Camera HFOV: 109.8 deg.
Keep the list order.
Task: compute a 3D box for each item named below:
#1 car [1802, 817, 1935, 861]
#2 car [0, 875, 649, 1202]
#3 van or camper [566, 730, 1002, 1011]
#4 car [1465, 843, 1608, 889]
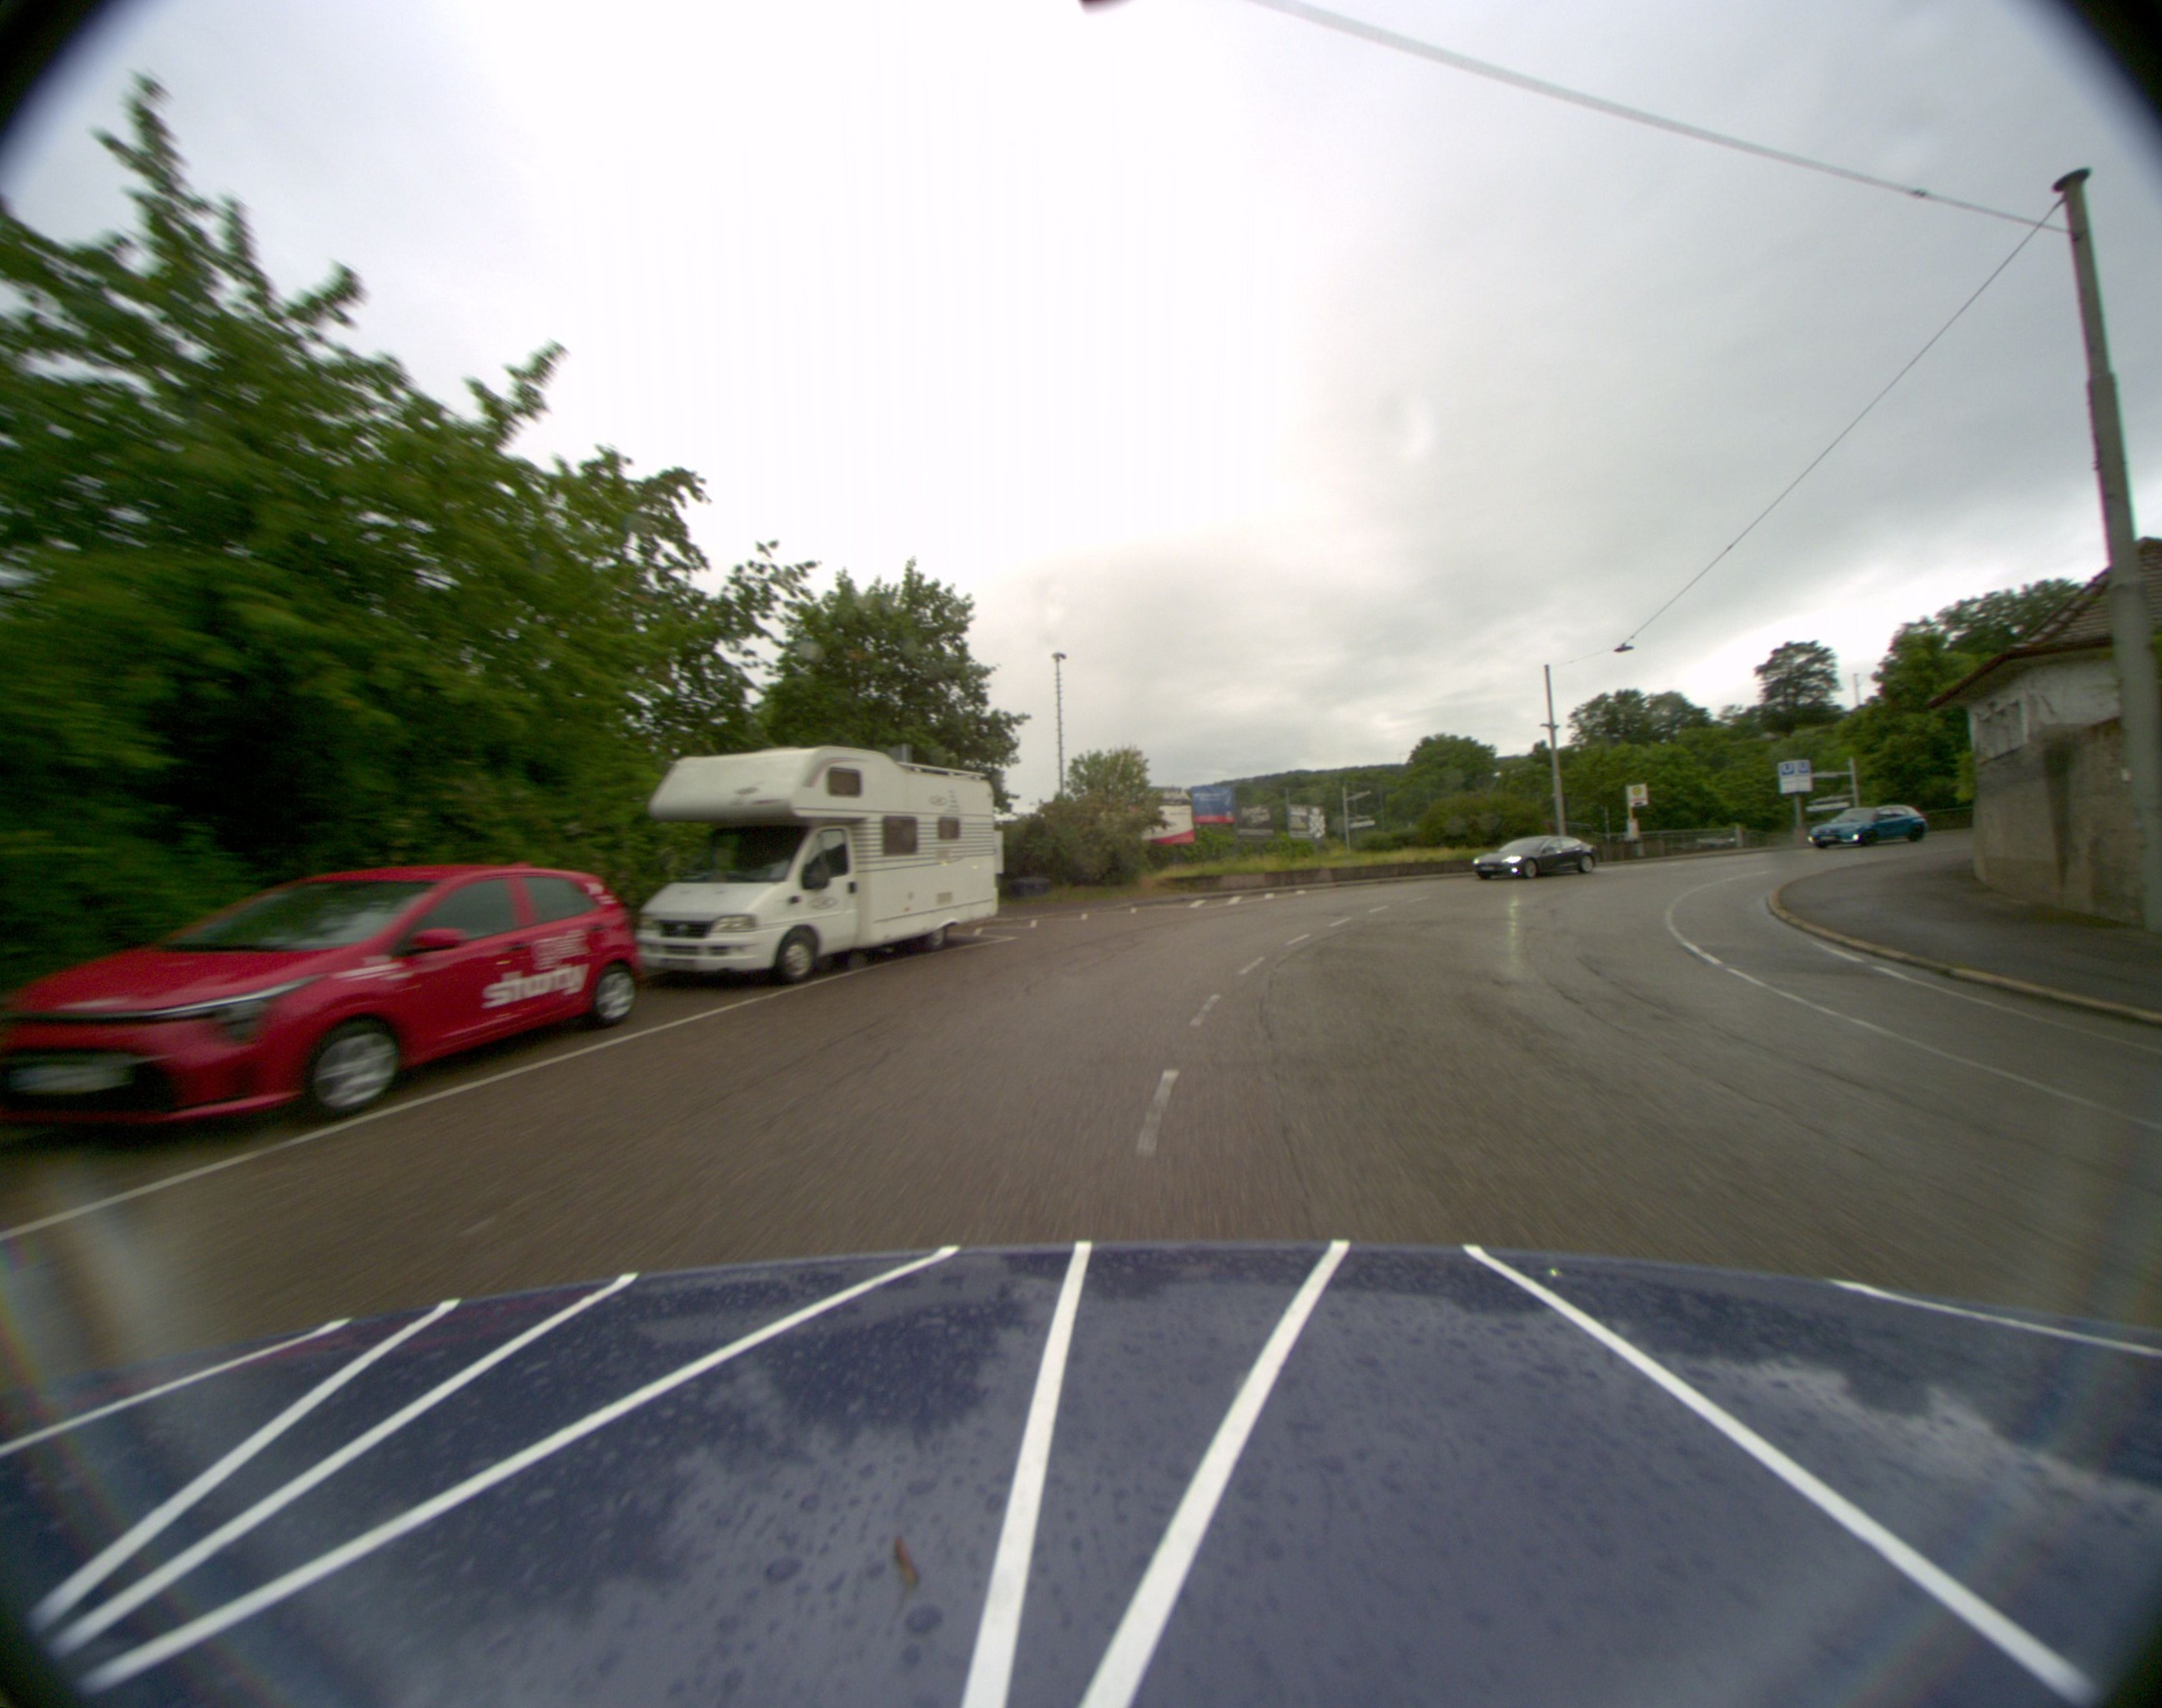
[{"bbox_3d":[32.735,-0.619,31.622,4.042,1.599,1.802,-1,-4,-10],"label":"car"},{"bbox_3d":[-5.076,0.932,5.528,1.645,1.452,3.807,0,0,1],"label":"car"},{"bbox_3d":[-3.667,0.166,11.262,2.392,2.927,6.290,0,0,21],"label":"van or camper"},{"bbox_3d":[16.169,0.378,27.038,4.326,1.384,1.834,-2,1,-14],"label":"car"}]
